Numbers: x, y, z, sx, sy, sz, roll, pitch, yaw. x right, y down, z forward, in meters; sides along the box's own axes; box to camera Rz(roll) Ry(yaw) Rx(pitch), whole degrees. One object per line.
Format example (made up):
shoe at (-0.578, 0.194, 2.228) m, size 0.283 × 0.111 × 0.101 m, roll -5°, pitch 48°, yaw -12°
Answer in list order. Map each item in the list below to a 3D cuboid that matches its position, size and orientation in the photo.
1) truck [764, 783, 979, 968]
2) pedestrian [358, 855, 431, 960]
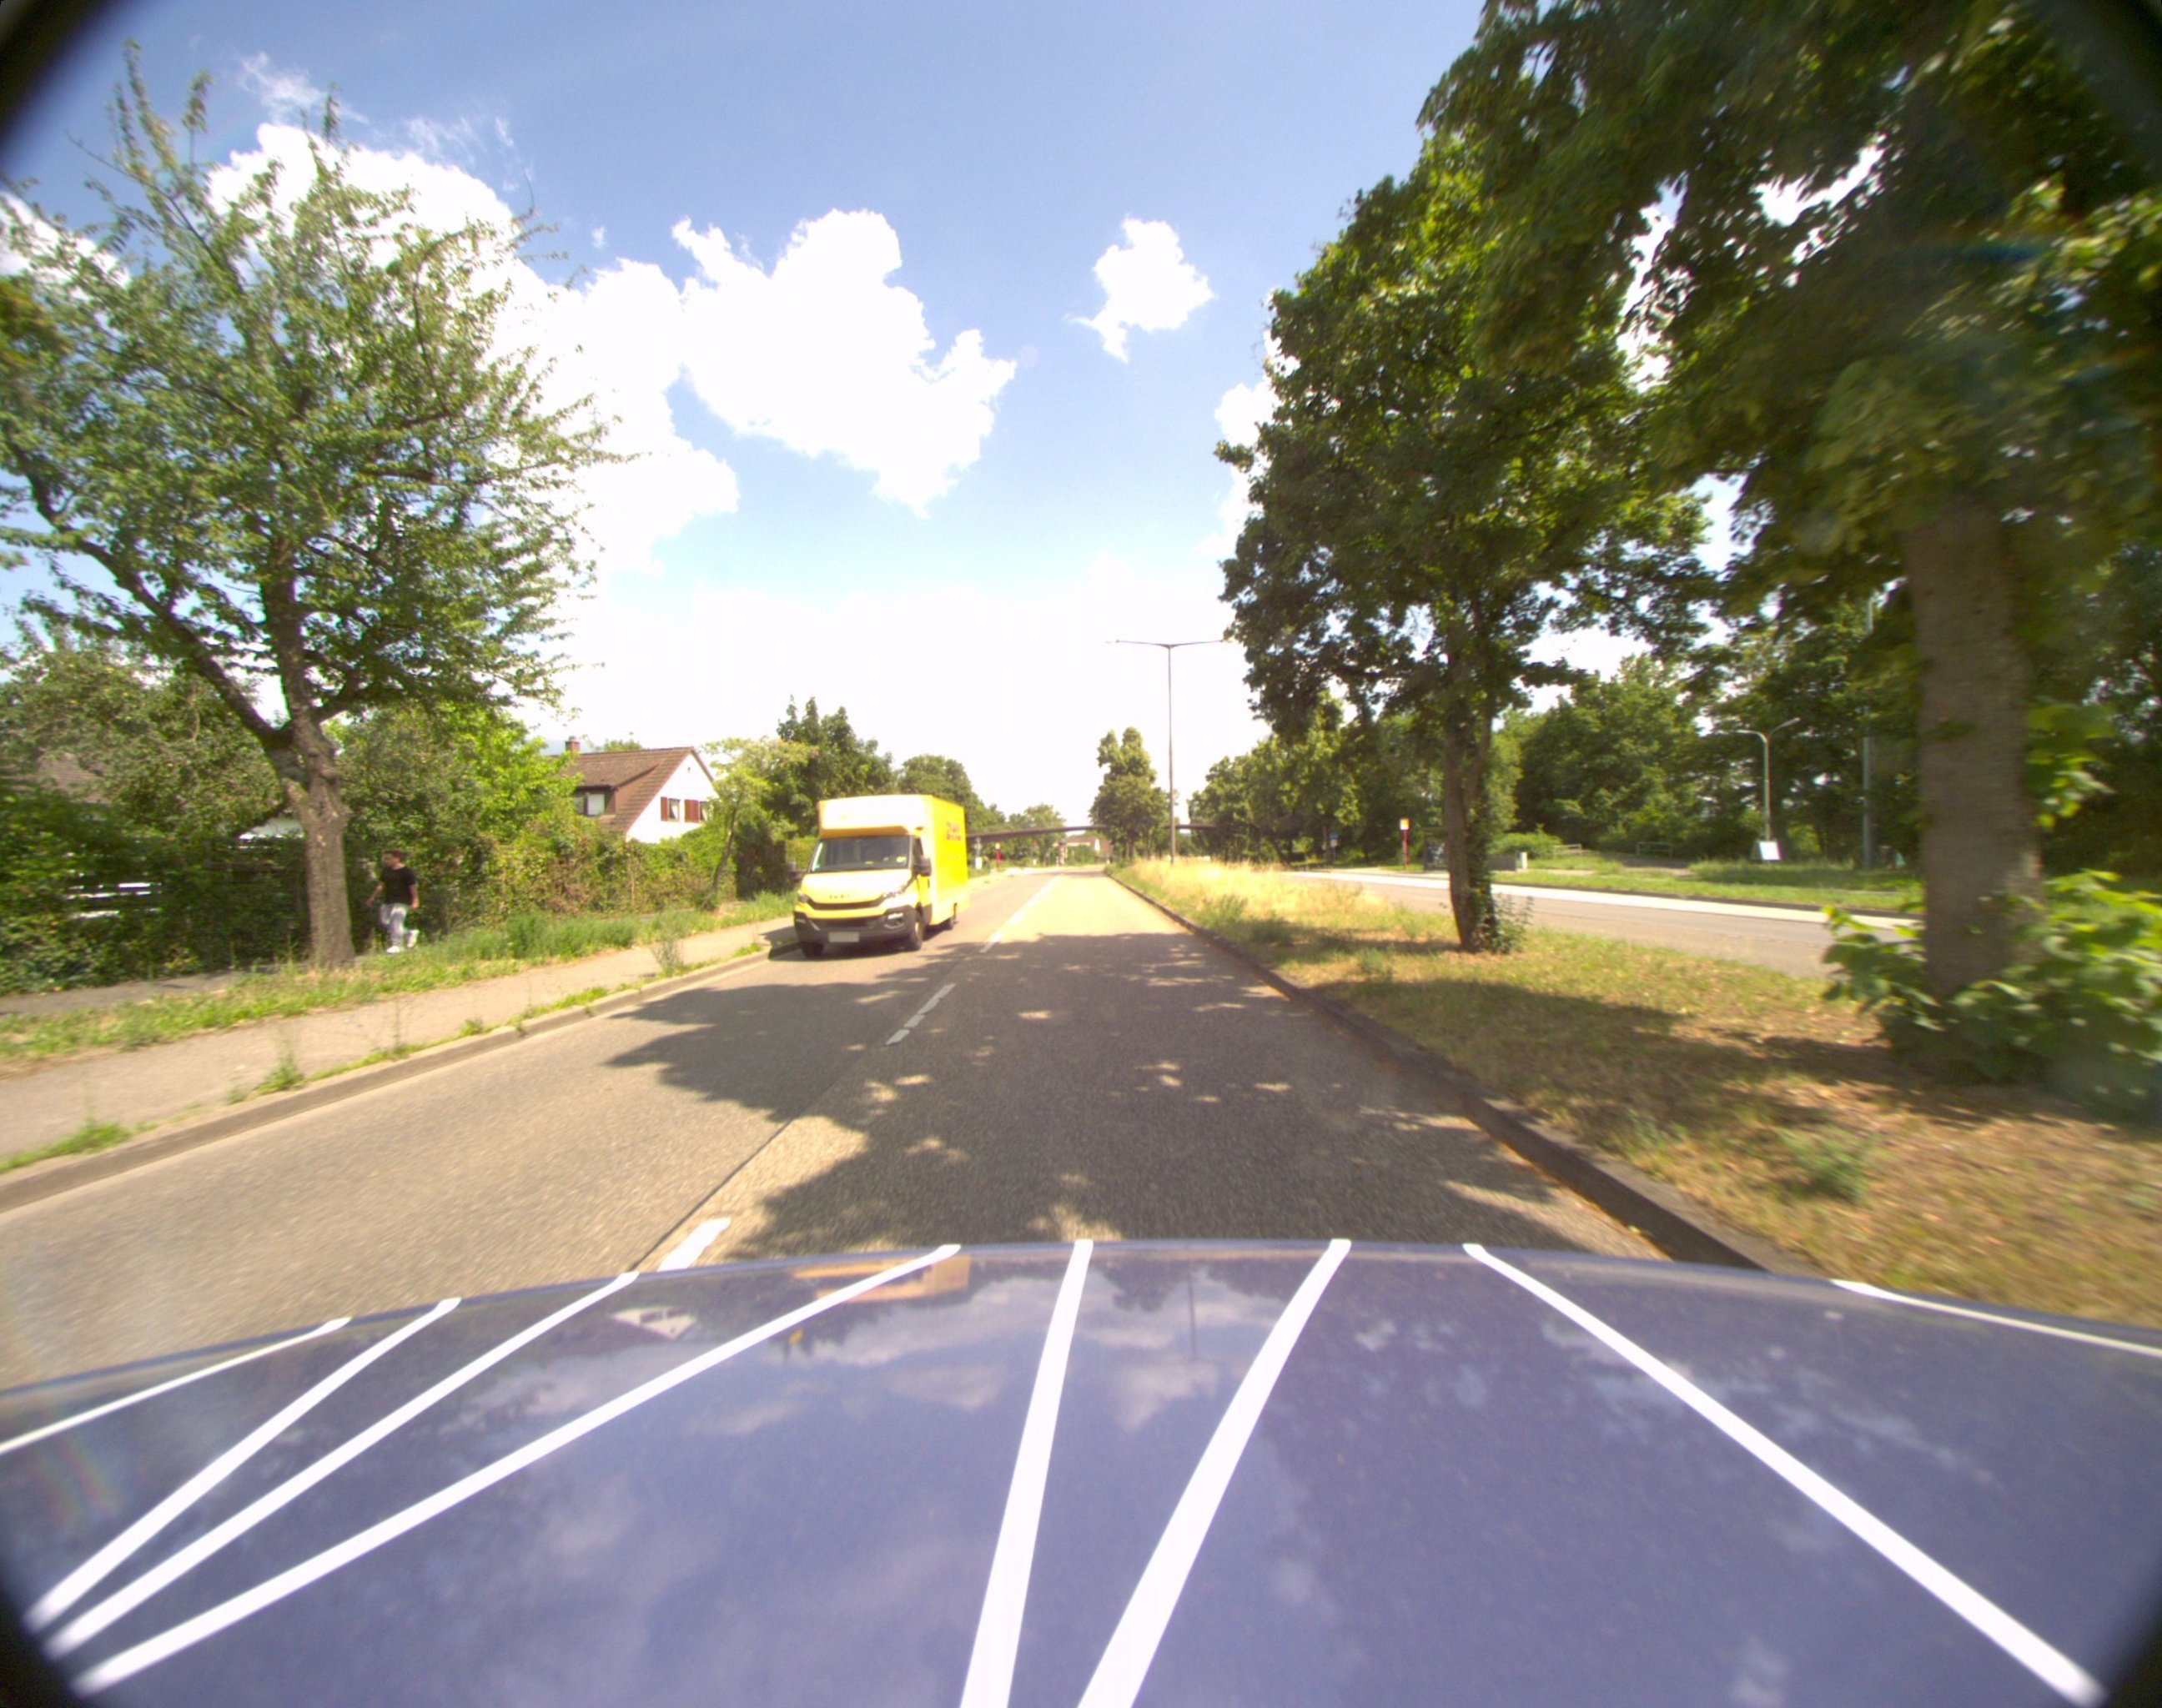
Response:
truck at (-3.889, 0.380, 16.189) m, size 2.270 × 2.863 × 8.028 m, roll -3°, pitch -1°, yaw 0°
pedestrian at (-11.293, 0.858, 12.522) m, size 0.561 × 1.667 × 0.634 m, roll -2°, pitch 1°, yaw 0°
